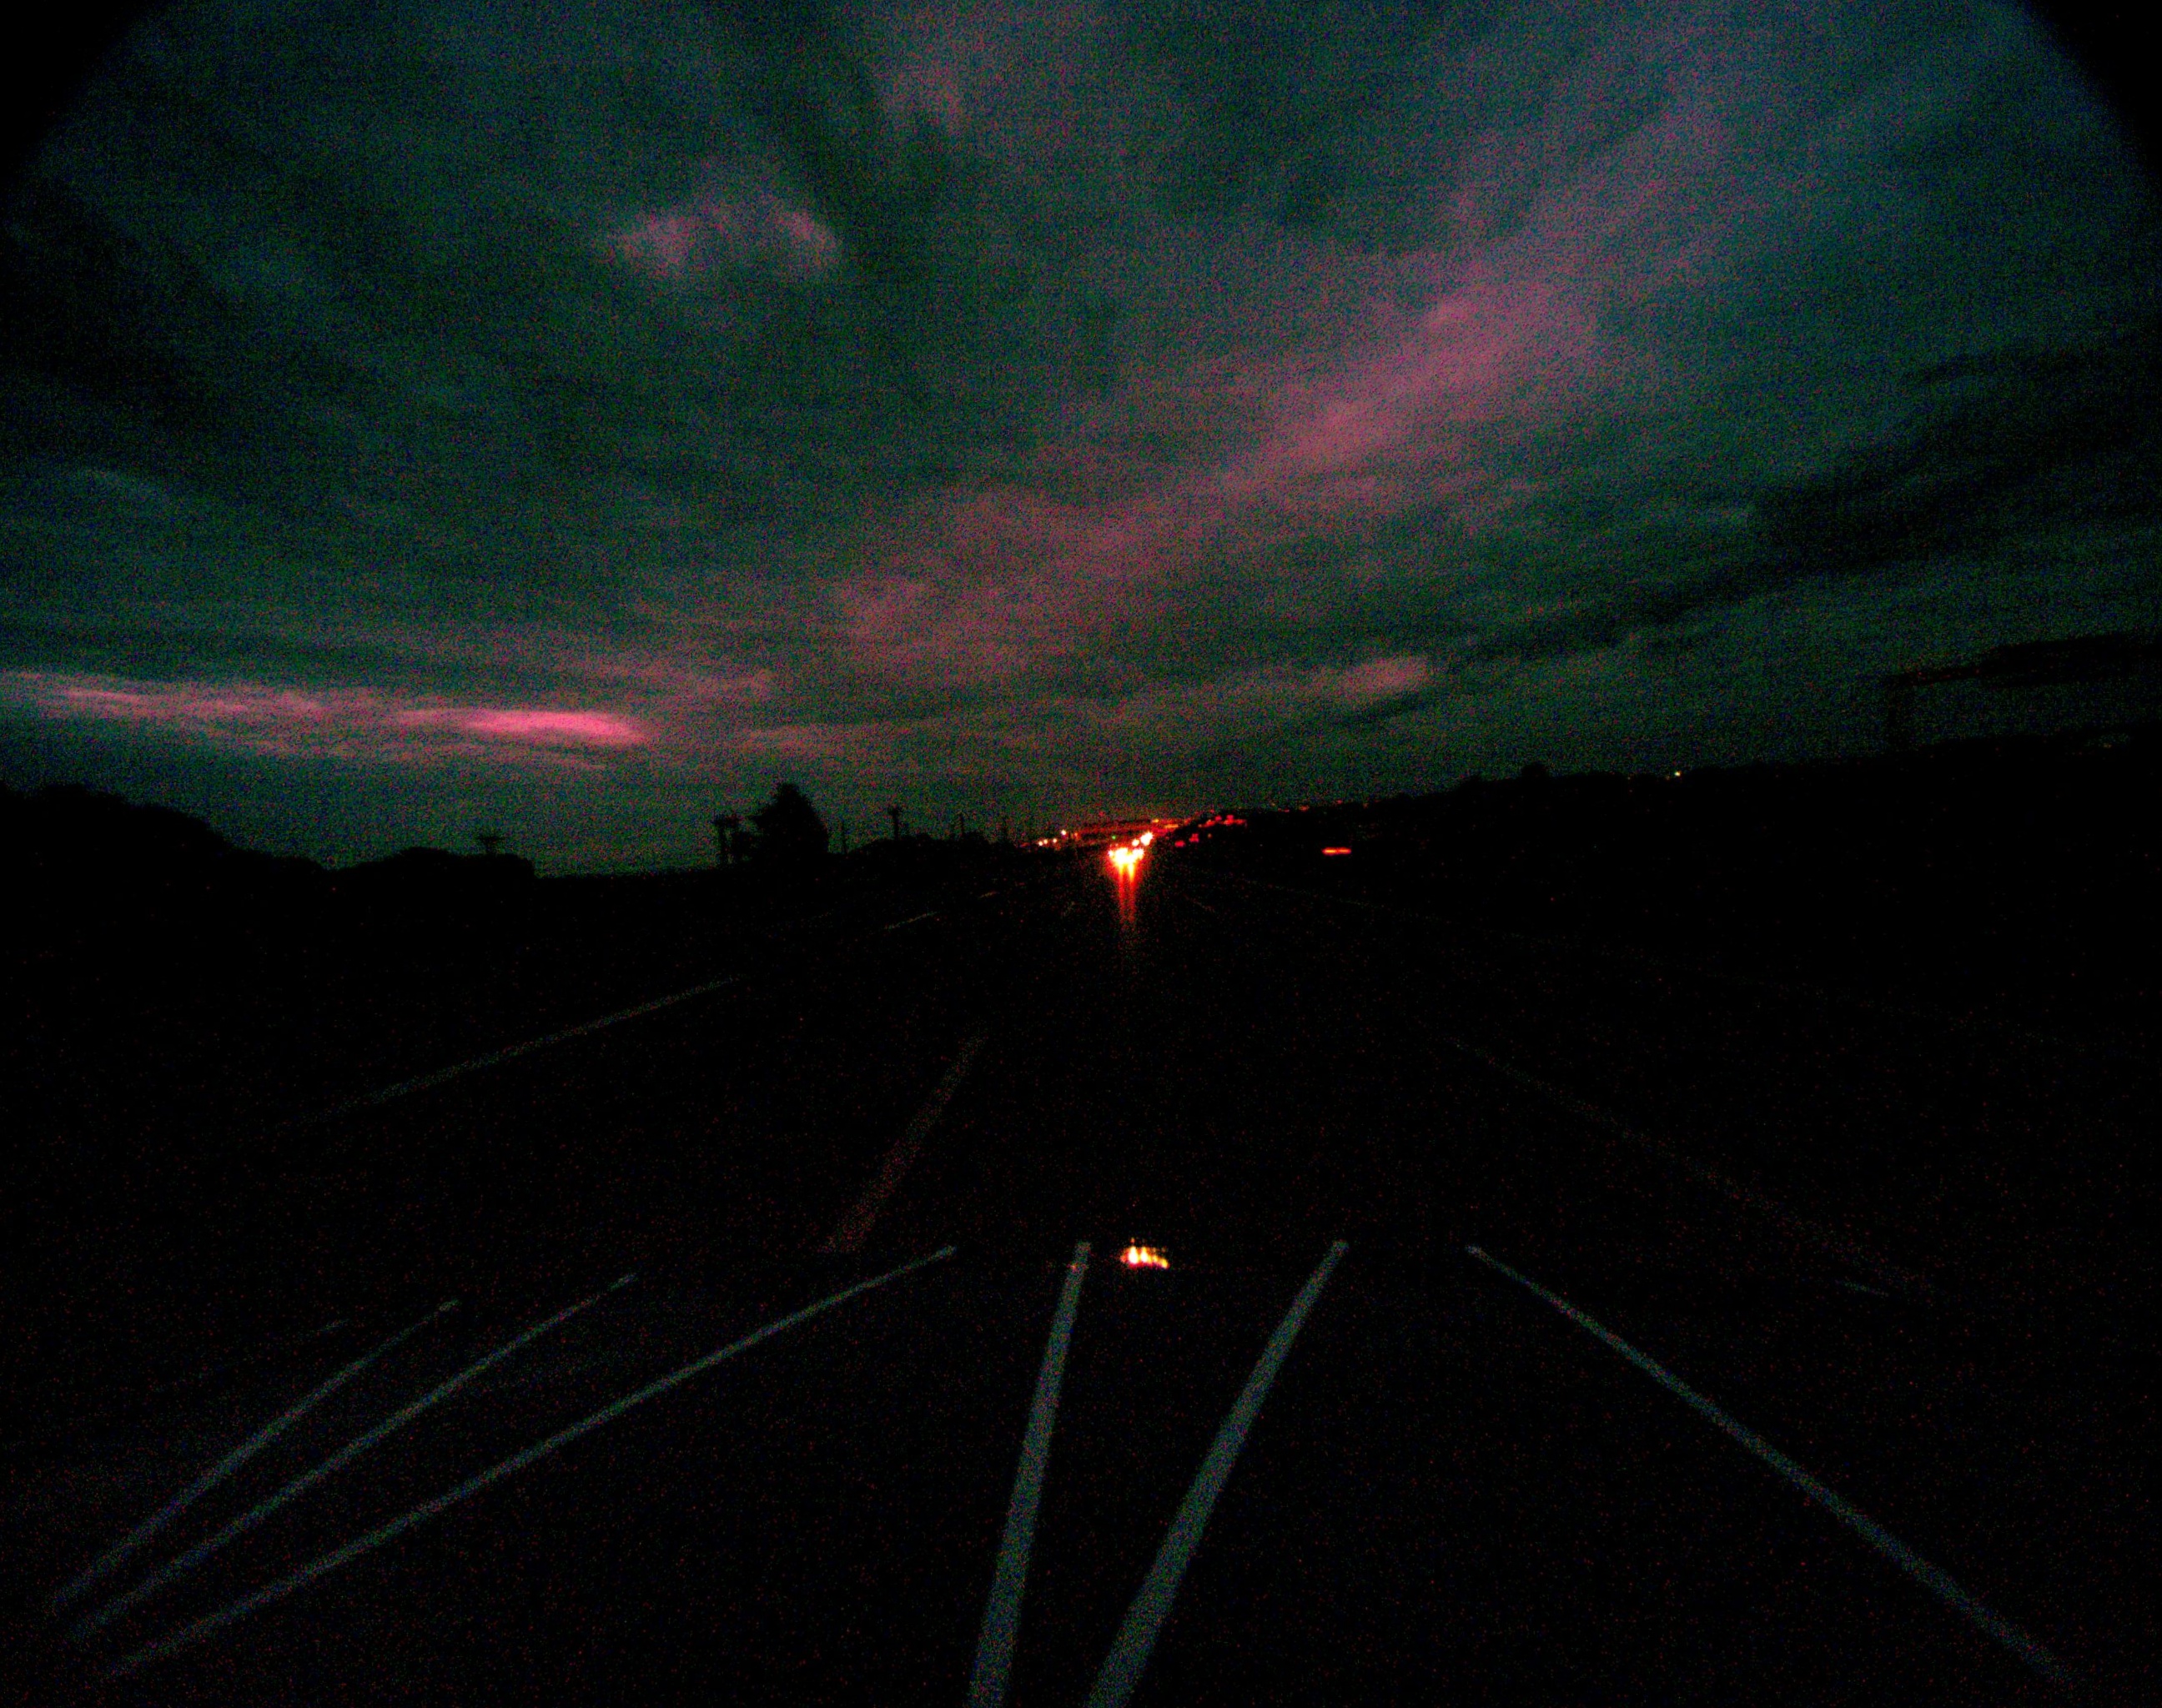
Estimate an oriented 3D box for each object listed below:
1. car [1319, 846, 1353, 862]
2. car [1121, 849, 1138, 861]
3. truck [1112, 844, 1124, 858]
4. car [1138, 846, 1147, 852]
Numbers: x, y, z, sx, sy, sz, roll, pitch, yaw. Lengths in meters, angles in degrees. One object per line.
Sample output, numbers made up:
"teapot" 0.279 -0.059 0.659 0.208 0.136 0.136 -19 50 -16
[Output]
"car" 25.416 -0.026 75.967 1.998 1.395 4.329 -3 1 1
"car" 6.234 0.105 98.370 1.998 1.342 4.175 0 1 2
"truck" 11.562 -0.981 236.029 3.059 4.047 10.524 -2 0 5
"car" 16.186 -1.274 200.221 1.998 1.342 4.175 -5 1 4
